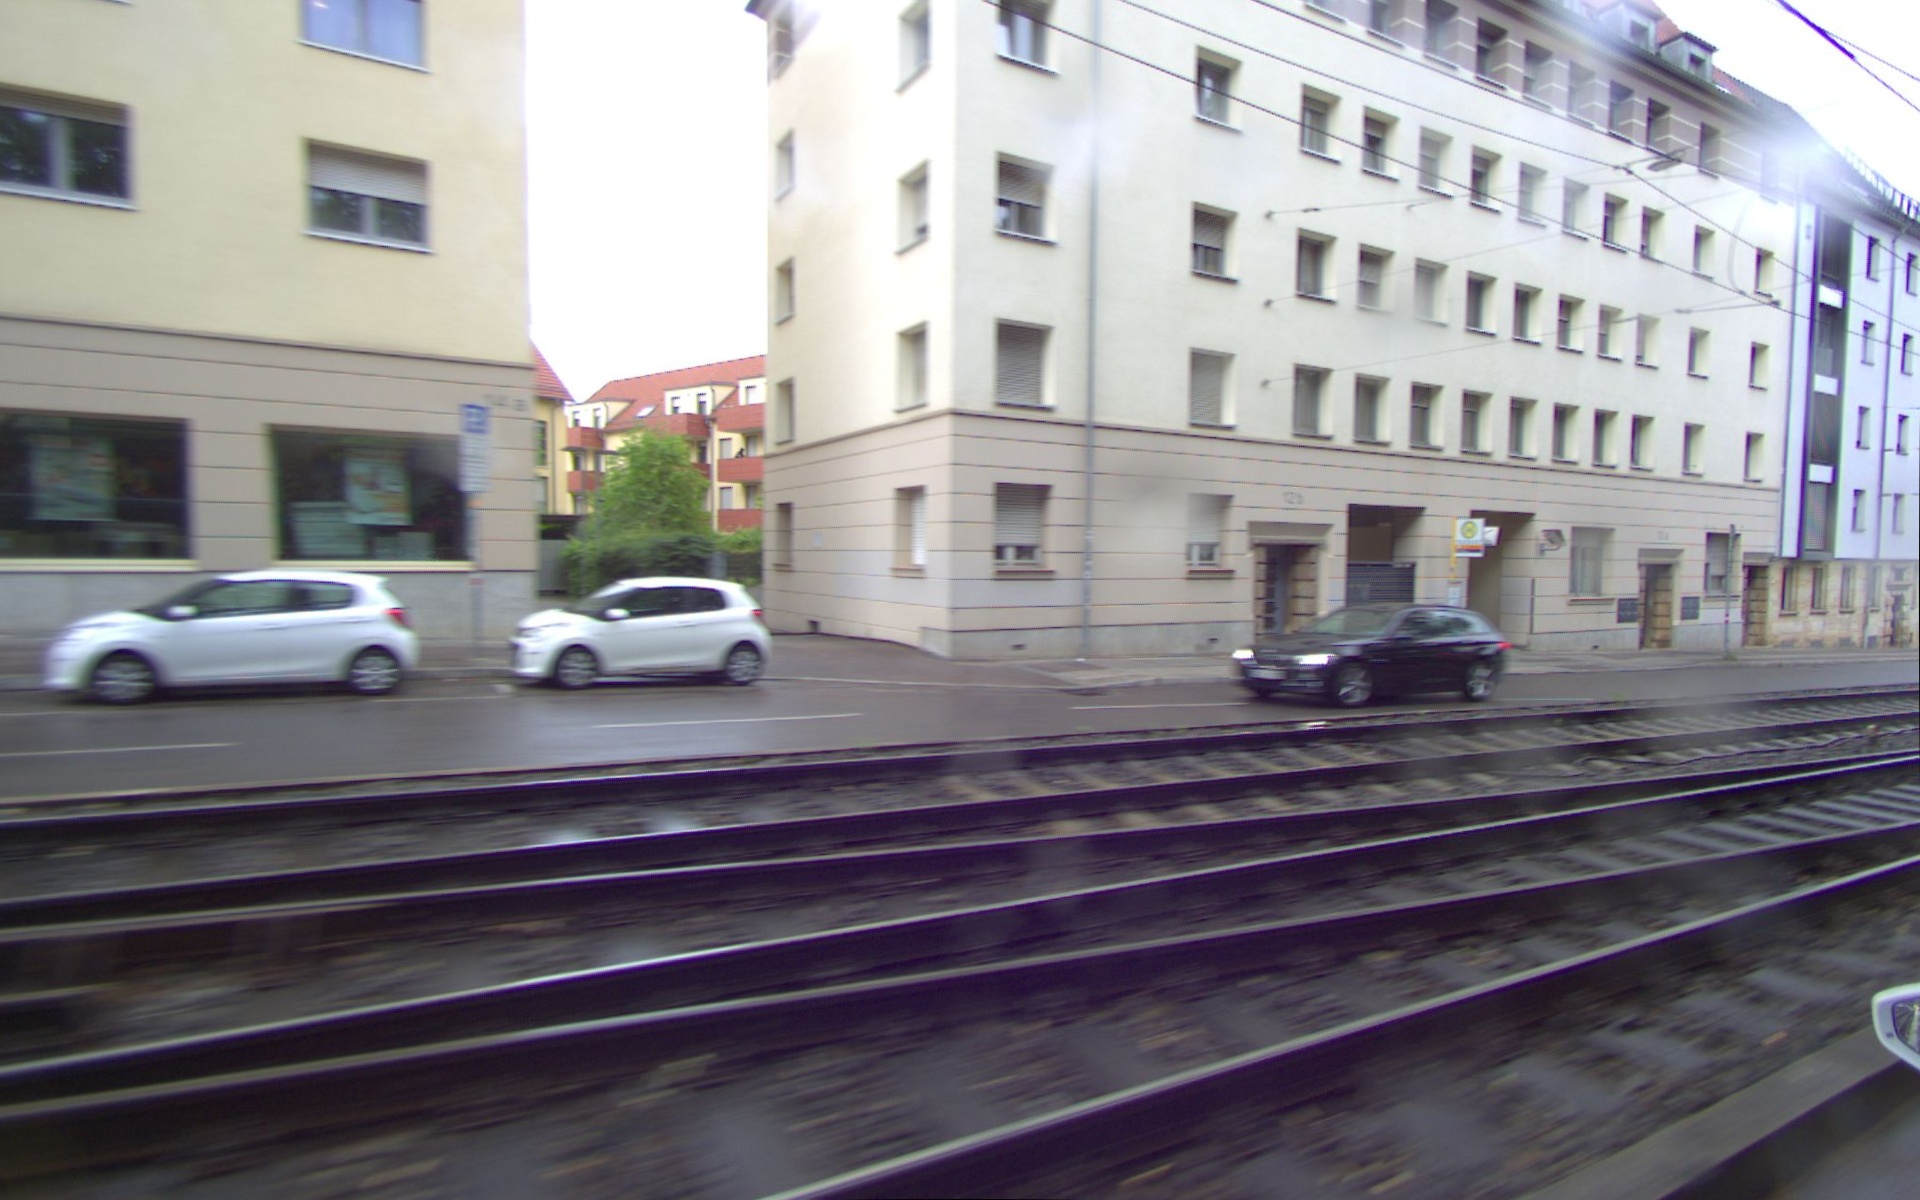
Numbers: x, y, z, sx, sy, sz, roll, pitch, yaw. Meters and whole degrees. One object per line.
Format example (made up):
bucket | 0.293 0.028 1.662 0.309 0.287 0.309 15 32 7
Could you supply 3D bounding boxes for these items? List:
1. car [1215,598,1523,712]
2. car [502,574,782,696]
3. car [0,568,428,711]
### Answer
car | 6.375 0.774 15.519 4.797 1.506 1.871 1 1 -30
car | -4.526 0.452 14.387 3.503 1.469 1.698 1 3 -33
car | -8.577 0.407 11.890 3.894 1.415 1.693 1 2 -33
